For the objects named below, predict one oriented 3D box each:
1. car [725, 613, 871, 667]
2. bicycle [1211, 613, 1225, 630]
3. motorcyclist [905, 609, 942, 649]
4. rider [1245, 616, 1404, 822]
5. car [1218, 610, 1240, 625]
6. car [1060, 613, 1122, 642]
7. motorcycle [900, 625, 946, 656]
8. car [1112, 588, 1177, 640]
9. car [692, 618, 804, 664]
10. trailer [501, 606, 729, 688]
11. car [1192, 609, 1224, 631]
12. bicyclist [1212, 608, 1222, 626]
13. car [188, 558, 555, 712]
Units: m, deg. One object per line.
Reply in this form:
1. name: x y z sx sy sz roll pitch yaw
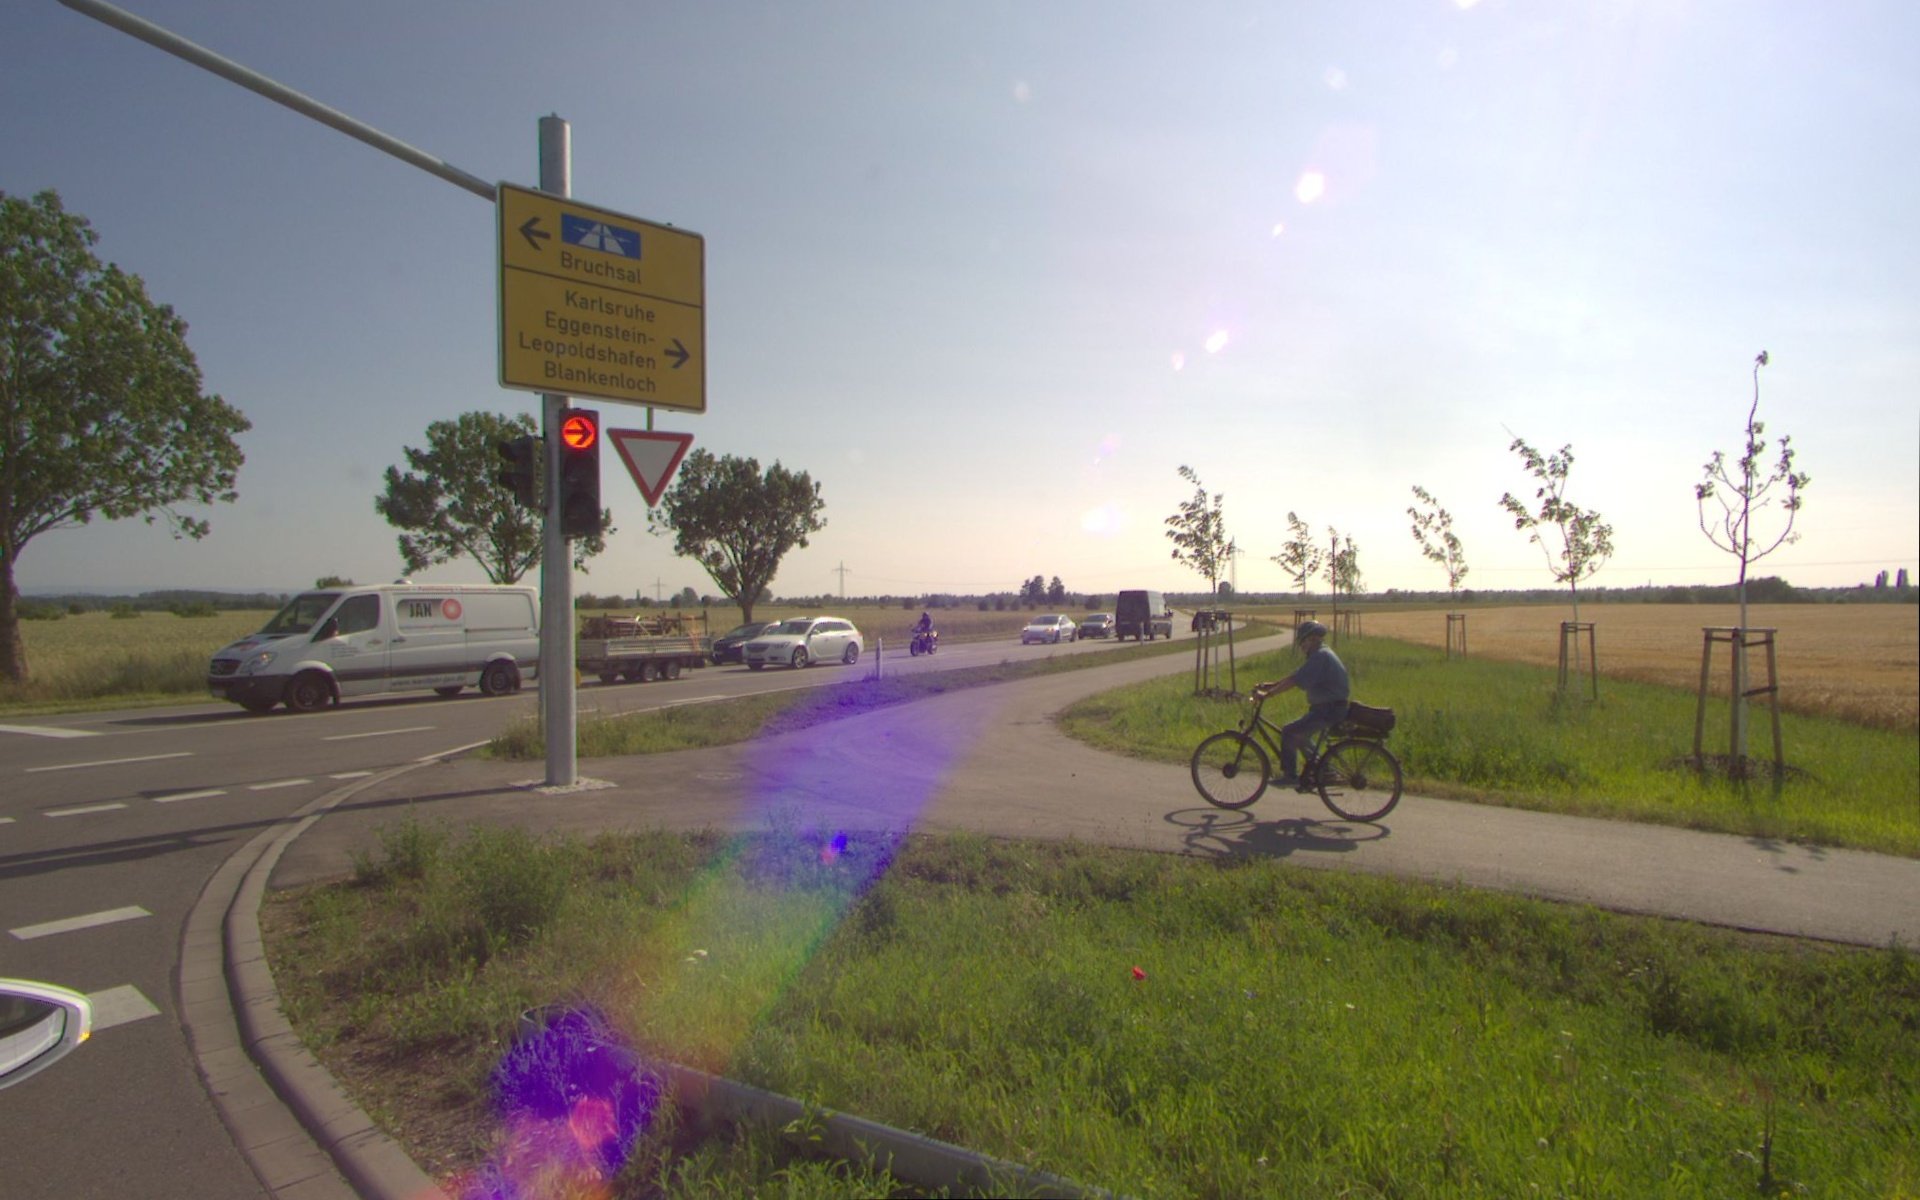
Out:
1. car: -4.897 1.236 30.957 1.969 1.529 4.868 -2 -3 27
2. bicycle: 22.966 1.895 89.229 0.720 1.415 2.490 -1 0 26
3. motorcyclist: -1.390 1.107 38.036 1.013 1.479 1.067 0 -1 27
4. rider: 3.146 0.984 8.697 0.973 1.665 0.820 0 1 -17
5. car: 29.942 1.904 111.477 1.888 1.539 4.678 1 0 20
6. car: 7.774 1.621 58.912 1.991 1.609 4.865 -2 -3 29
7. motorcycle: -1.379 1.543 38.068 0.836 1.133 2.140 0 -2 26
8. car: 9.956 0.742 53.758 2.001 2.656 5.730 0 0 26
9. car: -7.480 1.417 35.696 1.966 1.521 3.989 0 -1 23
10. trailer: -8.187 1.049 24.339 1.925 1.776 5.253 -1 -1 30
11. car: 18.163 1.423 73.279 1.700 1.476 3.727 0 1 24
12. bicyclist: 22.873 1.513 89.063 0.745 1.508 0.808 -1 -2 27
13. car: -11.145 0.648 19.559 1.972 2.524 5.945 -2 -2 32
